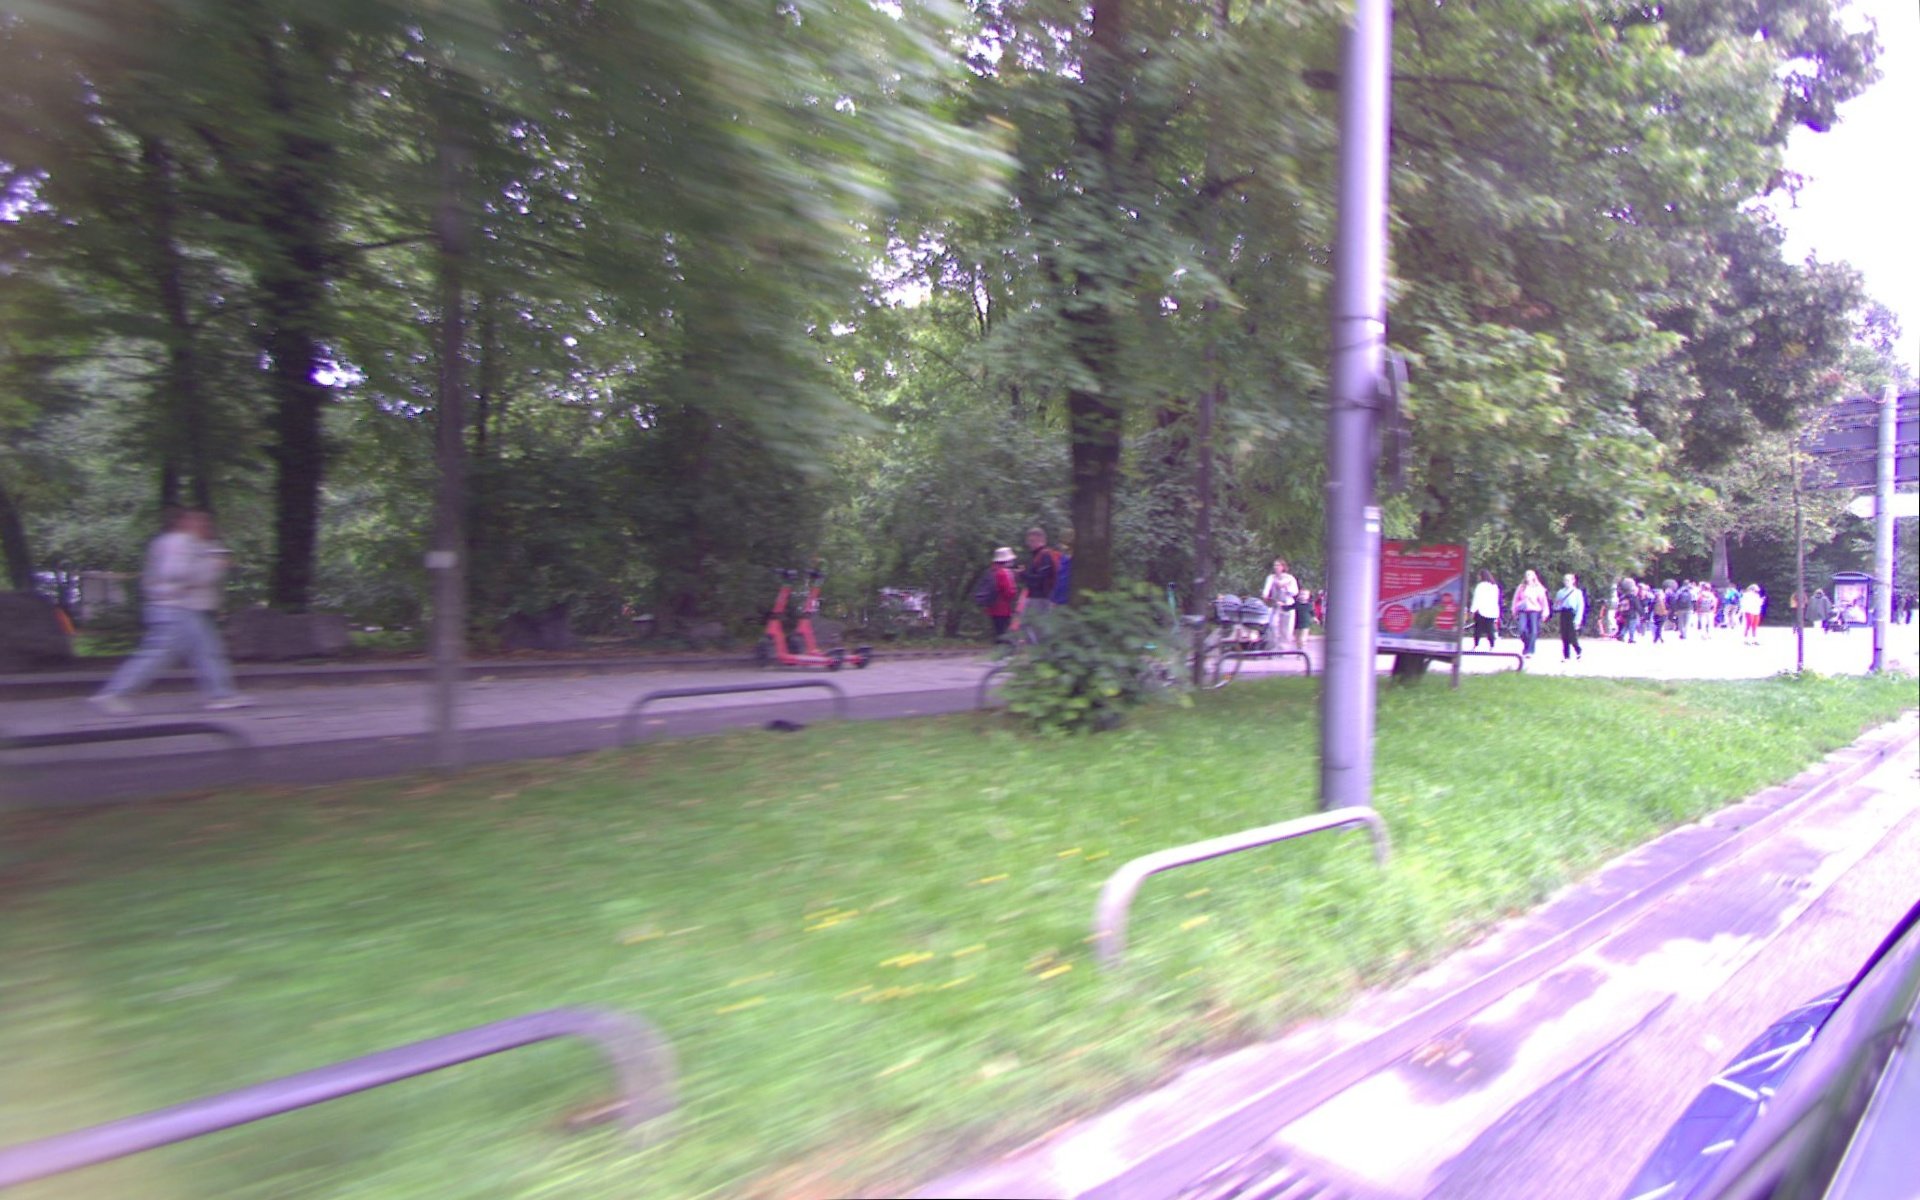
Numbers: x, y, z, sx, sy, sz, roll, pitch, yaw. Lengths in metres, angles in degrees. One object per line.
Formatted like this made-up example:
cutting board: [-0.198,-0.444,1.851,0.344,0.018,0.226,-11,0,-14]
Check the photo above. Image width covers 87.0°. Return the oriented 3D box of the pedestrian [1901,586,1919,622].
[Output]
pedestrian: [51.423,0.206,54.723,0.940,1.939,0.709,0,0,-42]

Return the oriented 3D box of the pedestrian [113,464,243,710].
pedestrian: [-6.077,-0.098,7.888,0.767,1.796,0.632,0,0,-38]

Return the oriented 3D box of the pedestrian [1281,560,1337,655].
pedestrian: [5.782,0.115,16.773,0.552,1.534,0.682,0,0,-40]

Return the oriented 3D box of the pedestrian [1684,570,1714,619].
pedestrian: [29.171,-0.228,39.932,0.715,1.898,0.814,0,0,-39]

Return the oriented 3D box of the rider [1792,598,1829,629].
rider: [31.399,0.499,37.359,1.221,1.126,0.767,0,0,-37]

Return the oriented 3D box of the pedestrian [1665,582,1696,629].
pedestrian: [27.449,0.200,38.558,0.715,1.761,0.814,0,0,-39]

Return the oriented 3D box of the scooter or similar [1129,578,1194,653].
scooter or similar: [3.360,0.246,16.854,1.198,1.214,0.418,0,0,-41]

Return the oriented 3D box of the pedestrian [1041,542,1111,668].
pedestrian: [1.573,0.053,13.716,0.591,1.658,0.682,0,2,-41]

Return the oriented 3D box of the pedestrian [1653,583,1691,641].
pedestrian: [19.875,0.323,28.260,0.682,1.598,0.609,0,0,14]

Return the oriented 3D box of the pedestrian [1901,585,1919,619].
pedestrian: [51.392,0.098,54.667,0.934,1.831,0.709,0,0,-42]

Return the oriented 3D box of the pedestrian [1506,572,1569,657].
pedestrian: [11.614,0.279,20.358,0.832,1.664,0.758,0,0,-26]

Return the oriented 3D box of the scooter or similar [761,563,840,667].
scooter or similar: [-1.943,0.174,12.375,0.909,1.239,0.306,1,1,-2]

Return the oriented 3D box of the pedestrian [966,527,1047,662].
pedestrian: [0.621,-0.074,13.674,0.832,1.759,0.758,0,0,-26]

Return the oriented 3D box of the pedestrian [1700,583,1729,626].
pedestrian: [30.361,0.188,40.741,0.661,1.712,0.814,0,0,-39]

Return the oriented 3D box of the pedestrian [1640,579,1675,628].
pedestrian: [25.033,0.130,36.320,0.715,1.711,0.814,0,2,-39]

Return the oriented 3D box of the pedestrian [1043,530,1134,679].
pedestrian: [1.570,0.050,12.433,0.832,1.759,0.758,0,0,-26]

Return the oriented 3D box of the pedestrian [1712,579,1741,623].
pedestrian: [31.991,0.035,42.216,0.715,1.790,0.814,0,0,-39]

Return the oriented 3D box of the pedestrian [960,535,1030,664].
pedestrian: [0.473,-0.015,13.485,0.679,1.658,0.655,0,0,37]

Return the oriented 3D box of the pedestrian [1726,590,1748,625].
pedestrian: [34.078,0.316,44.390,0.523,1.526,0.637,0,0,-39]

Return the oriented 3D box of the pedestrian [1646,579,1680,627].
pedestrian: [25.603,0.096,36.850,0.715,1.712,0.814,0,1,-39]

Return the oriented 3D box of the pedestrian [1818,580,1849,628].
pedestrian: [31.621,0.148,36.628,0.636,1.712,0.728,0,0,-36]

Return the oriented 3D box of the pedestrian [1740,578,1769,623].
pedestrian: [33.151,0.022,42.205,0.715,1.852,0.814,0,0,-39]

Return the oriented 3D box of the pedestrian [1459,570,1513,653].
pedestrian: [10.862,0.228,20.902,0.637,1.664,0.758,0,0,-26]

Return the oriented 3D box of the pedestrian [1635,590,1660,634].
pedestrian: [21.028,0.354,30.952,0.636,1.343,0.459,0,0,-37]

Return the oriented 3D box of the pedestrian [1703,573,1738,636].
pedestrian: [23.475,0.134,31.255,0.678,1.939,0.612,0,0,-25]

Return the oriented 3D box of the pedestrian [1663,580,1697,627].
pedestrian: [26.973,0.138,37.905,0.715,1.711,0.814,0,2,-39]

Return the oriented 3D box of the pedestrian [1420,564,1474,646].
pedestrian: [10.057,0.102,20.902,0.676,1.664,0.758,0,0,-26]

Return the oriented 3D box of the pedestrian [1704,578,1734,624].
pedestrian: [30.908,0.038,41.200,0.715,1.875,0.814,0,0,-39]

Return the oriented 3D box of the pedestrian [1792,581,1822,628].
pedestrian: [31.182,0.154,37.244,0.636,1.712,0.728,0,0,-36]

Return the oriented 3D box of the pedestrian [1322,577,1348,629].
pedestrian: [12.955,0.112,34.970,0.540,1.785,0.612,0,0,-19]

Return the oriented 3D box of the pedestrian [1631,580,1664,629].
pedestrian: [24.269,0.151,35.725,0.715,1.712,0.814,0,0,-39]

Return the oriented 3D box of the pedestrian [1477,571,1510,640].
pedestrian: [14.914,0.142,28.316,0.682,1.896,0.609,0,0,14]

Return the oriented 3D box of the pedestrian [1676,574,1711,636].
pedestrian: [22.675,0.153,31.290,0.678,1.896,0.612,0,0,-25]

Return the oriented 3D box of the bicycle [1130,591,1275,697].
bicycle: [2.599,0.428,10.685,2.043,1.034,0.385,0,0,-41]

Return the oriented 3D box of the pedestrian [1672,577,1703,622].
pedestrian: [28.040,-0.028,39.020,0.715,1.712,0.814,0,0,-39]

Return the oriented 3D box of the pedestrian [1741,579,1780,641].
pedestrian: [22.758,0.275,28.786,0.636,1.712,0.728,0,0,-36]

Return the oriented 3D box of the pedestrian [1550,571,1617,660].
pedestrian: [11.954,0.288,19.409,0.832,1.664,0.758,0,0,-26]

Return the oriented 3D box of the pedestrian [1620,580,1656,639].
pedestrian: [19.258,0.265,28.747,0.683,1.672,0.608,0,0,16]

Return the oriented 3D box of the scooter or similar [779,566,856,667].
scooter or similar: [-1.786,0.200,12.727,0.909,1.239,0.306,1,1,-2]

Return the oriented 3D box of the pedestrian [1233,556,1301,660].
pedestrian: [4.848,0.113,15.989,0.857,1.586,0.682,0,0,-41]

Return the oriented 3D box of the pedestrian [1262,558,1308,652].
pedestrian: [5.578,0.088,17.365,0.561,1.586,0.487,0,0,-26]

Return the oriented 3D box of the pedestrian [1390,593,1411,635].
pedestrian: [15.580,0.499,35.799,0.507,1.492,0.409,0,0,-19]

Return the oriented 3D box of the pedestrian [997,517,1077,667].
pedestrian: [0.985,-0.098,12.926,0.835,1.845,0.589,0,0,-41]

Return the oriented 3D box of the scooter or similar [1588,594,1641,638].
scooter or similar: [19.708,0.471,30.516,0.341,1.272,1.570,0,0,-11]

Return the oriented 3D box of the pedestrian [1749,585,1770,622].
pedestrian: [36.285,0.157,45.931,0.523,1.647,0.637,0,0,-39]

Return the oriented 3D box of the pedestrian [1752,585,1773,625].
pedestrian: [36.832,0.231,46.444,0.523,1.790,0.637,0,0,-39]

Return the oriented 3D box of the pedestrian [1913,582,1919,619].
pedestrian: [50.261,0.015,52.808,0.940,1.939,0.709,0,0,-42]

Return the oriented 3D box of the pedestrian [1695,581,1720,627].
pedestrian: [28.166,0.139,38.127,0.715,1.712,0.593,0,0,-39]

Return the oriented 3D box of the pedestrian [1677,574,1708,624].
pedestrian: [28.574,-0.040,39.482,0.715,1.941,0.814,0,0,-39]

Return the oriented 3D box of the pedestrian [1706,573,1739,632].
pedestrian: [24.882,0.070,33.037,0.678,1.896,0.612,0,0,-25]
